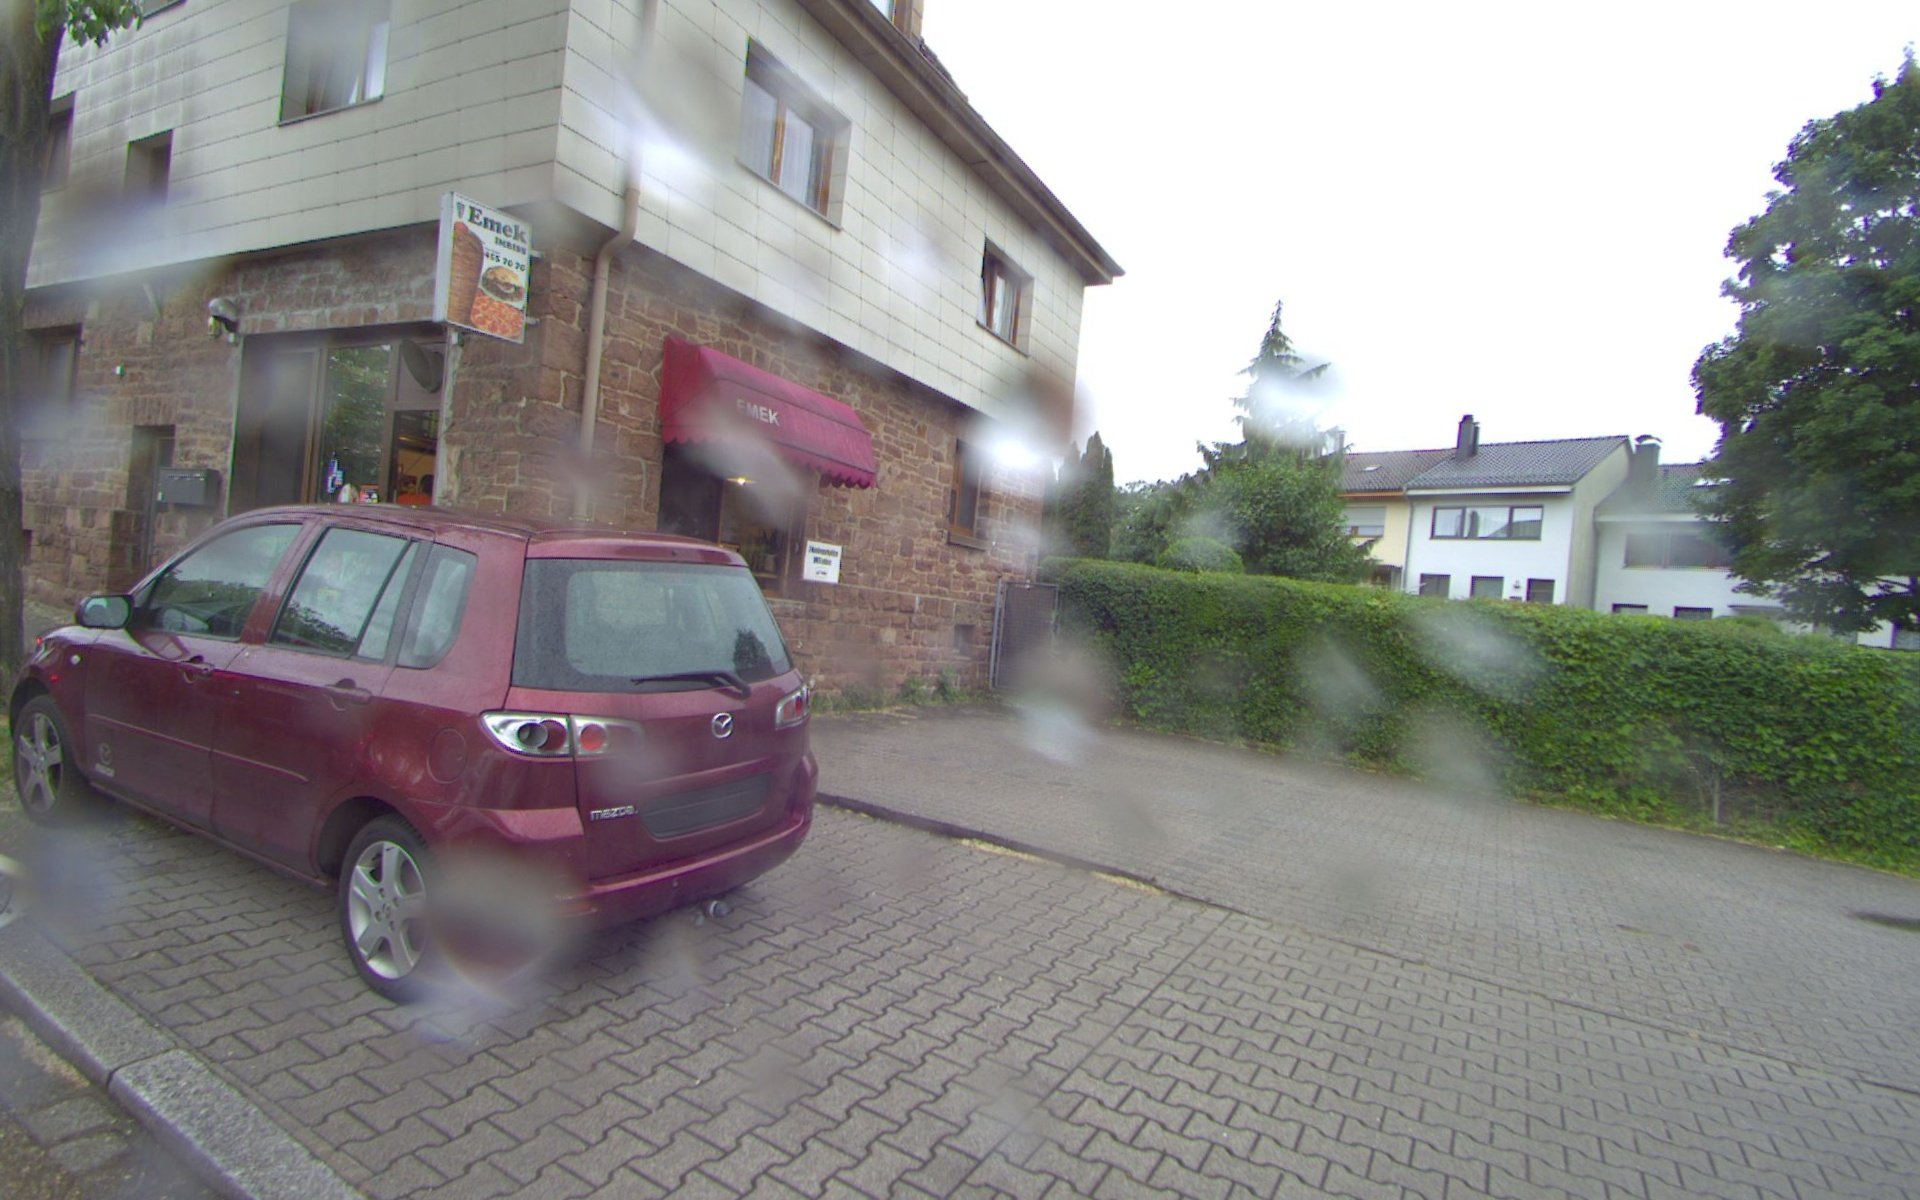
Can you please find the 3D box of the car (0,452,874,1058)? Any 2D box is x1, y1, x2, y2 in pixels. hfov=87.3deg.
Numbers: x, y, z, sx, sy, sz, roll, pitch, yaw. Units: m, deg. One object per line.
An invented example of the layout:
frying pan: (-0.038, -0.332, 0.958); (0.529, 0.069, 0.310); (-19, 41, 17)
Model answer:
car: (-2.344, 0.316, 4.239); (3.565, 1.511, 1.585); (7, 3, 29)

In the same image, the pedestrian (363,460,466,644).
pedestrian: (-5.826, -0.501, 10.754); (0.475, 1.862, 0.638); (7, 0, 31)
